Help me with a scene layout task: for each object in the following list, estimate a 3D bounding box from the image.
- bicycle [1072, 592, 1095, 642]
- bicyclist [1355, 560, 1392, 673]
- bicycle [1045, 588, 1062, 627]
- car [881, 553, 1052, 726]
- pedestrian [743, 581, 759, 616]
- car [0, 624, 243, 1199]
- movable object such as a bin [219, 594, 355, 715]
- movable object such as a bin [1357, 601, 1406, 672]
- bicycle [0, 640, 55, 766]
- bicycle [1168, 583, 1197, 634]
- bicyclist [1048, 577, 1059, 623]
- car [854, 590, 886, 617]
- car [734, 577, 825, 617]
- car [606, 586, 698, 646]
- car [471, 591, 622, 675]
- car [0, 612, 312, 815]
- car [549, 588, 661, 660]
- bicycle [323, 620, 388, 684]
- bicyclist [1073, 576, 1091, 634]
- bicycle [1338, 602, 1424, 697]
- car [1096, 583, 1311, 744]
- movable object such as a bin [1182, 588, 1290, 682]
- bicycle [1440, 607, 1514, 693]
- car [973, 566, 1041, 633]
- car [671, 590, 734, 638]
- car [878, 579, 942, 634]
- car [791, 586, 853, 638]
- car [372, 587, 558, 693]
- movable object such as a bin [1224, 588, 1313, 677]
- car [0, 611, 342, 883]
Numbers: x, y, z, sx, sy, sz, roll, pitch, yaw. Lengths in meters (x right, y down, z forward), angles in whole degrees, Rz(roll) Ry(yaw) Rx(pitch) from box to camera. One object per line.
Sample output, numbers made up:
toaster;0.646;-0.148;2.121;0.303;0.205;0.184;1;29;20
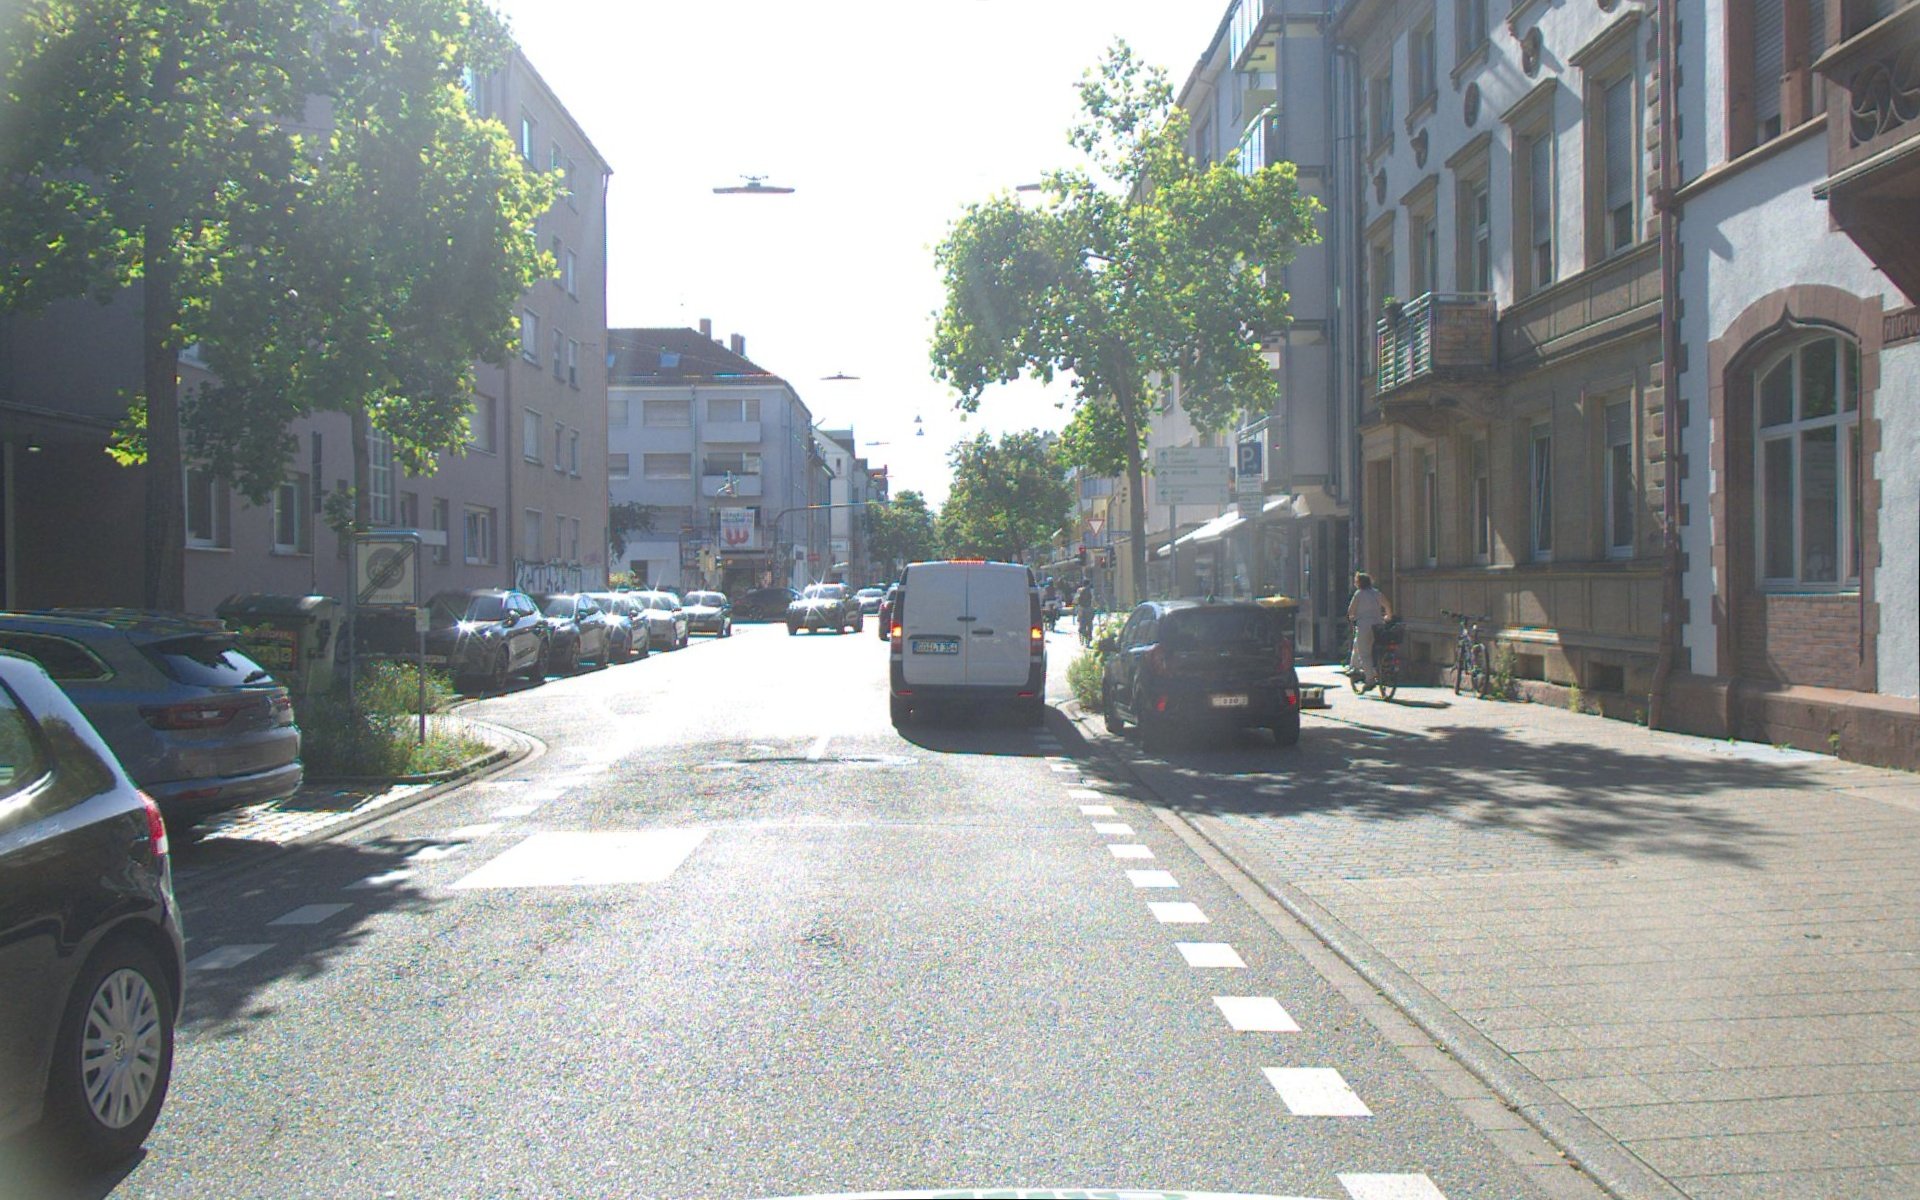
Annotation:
bicycle;3.298;0.443;44.261;0.465;1.296;1.218;0;0;-2
bicyclist;5.556;0.213;22.224;0.353;1.502;0.530;0;0;-1
bicycle;3.266;0.244;57.807;0.408;1.333;1.334;0;0;-3
car;-0.040;0.408;21.073;1.882;1.947;4.885;0;1;-3
pedestrian;-10.296;-0.094;81.407;0.670;1.692;0.601;-1;0;-3
car;-3.021;0.855;2.987;1.727;1.463;3.959;-2;0;-1
movable object such as a bin;-8.513;0.673;20.974;1.204;1.475;1.077;-1;0;7
movable object such as a bin;6.497;0.558;25.496;0.586;1.060;0.546;-1;0;-2
bicycle;-8.853;0.938;15.143;0.457;1.097;1.342;-1;0;-4
bicycle;5.829;0.212;43.374;0.465;1.296;1.218;-4;1;-2
bicyclist;3.274;-0.016;57.929;0.348;1.603;0.481;0;0;-4
car;-4.861;0.159;89.368;1.585;1.422;3.730;0;0;-1
car;-8.002;-0.141;73.552;3.909;1.668;1.998;-1;0;-5
car;-8.376;0.399;45.353;1.741;1.495;4.758;1;1;-2
car;-8.378;0.621;33.932;1.952;1.523;4.228;2;1;1
car;-7.534;0.847;12.996;4.217;1.458;1.644;0;0;-1
car;-8.294;0.508;39.018;1.686;1.523;4.625;2;1;-1
bicycle;-11.407;0.961;31.267;0.543;1.121;1.902;-1;1;-1
bicyclist;3.274;0.129;44.417;0.430;1.535;0.496;0;0;-2
bicycle;5.641;0.638;22.257;0.525;1.169;2.123;-2;0;-2
car;2.510;0.595;17.819;1.603;1.501;3.578;-2;1;-3
movable object such as a bin;4.264;0.522;25.568;1.261;1.371;1.091;-2;1;-43
bicycle;6.814;0.641;21.852;0.424;1.048;1.427;-4;1;-2
car;1.431;-0.050;51.616;1.779;1.954;4.642;-1;1;-2
car;-8.635;0.440;55.634;1.620;1.505;3.998;0;1;-2
car;-1.501;0.153;49.557;1.808;1.534;3.998;-1;1;-2
car;-4.672;0.382;56.531;1.829;1.642;4.426;-2;1;-2
car;-8.259;0.603;27.988;1.838;1.634;4.364;1;1;0
movable object such as a bin;5.006;0.513;26.820;1.021;1.371;1.104;-1;1;38
car;-6.275;0.829;10.232;4.216;1.485;1.762;0;0;1
